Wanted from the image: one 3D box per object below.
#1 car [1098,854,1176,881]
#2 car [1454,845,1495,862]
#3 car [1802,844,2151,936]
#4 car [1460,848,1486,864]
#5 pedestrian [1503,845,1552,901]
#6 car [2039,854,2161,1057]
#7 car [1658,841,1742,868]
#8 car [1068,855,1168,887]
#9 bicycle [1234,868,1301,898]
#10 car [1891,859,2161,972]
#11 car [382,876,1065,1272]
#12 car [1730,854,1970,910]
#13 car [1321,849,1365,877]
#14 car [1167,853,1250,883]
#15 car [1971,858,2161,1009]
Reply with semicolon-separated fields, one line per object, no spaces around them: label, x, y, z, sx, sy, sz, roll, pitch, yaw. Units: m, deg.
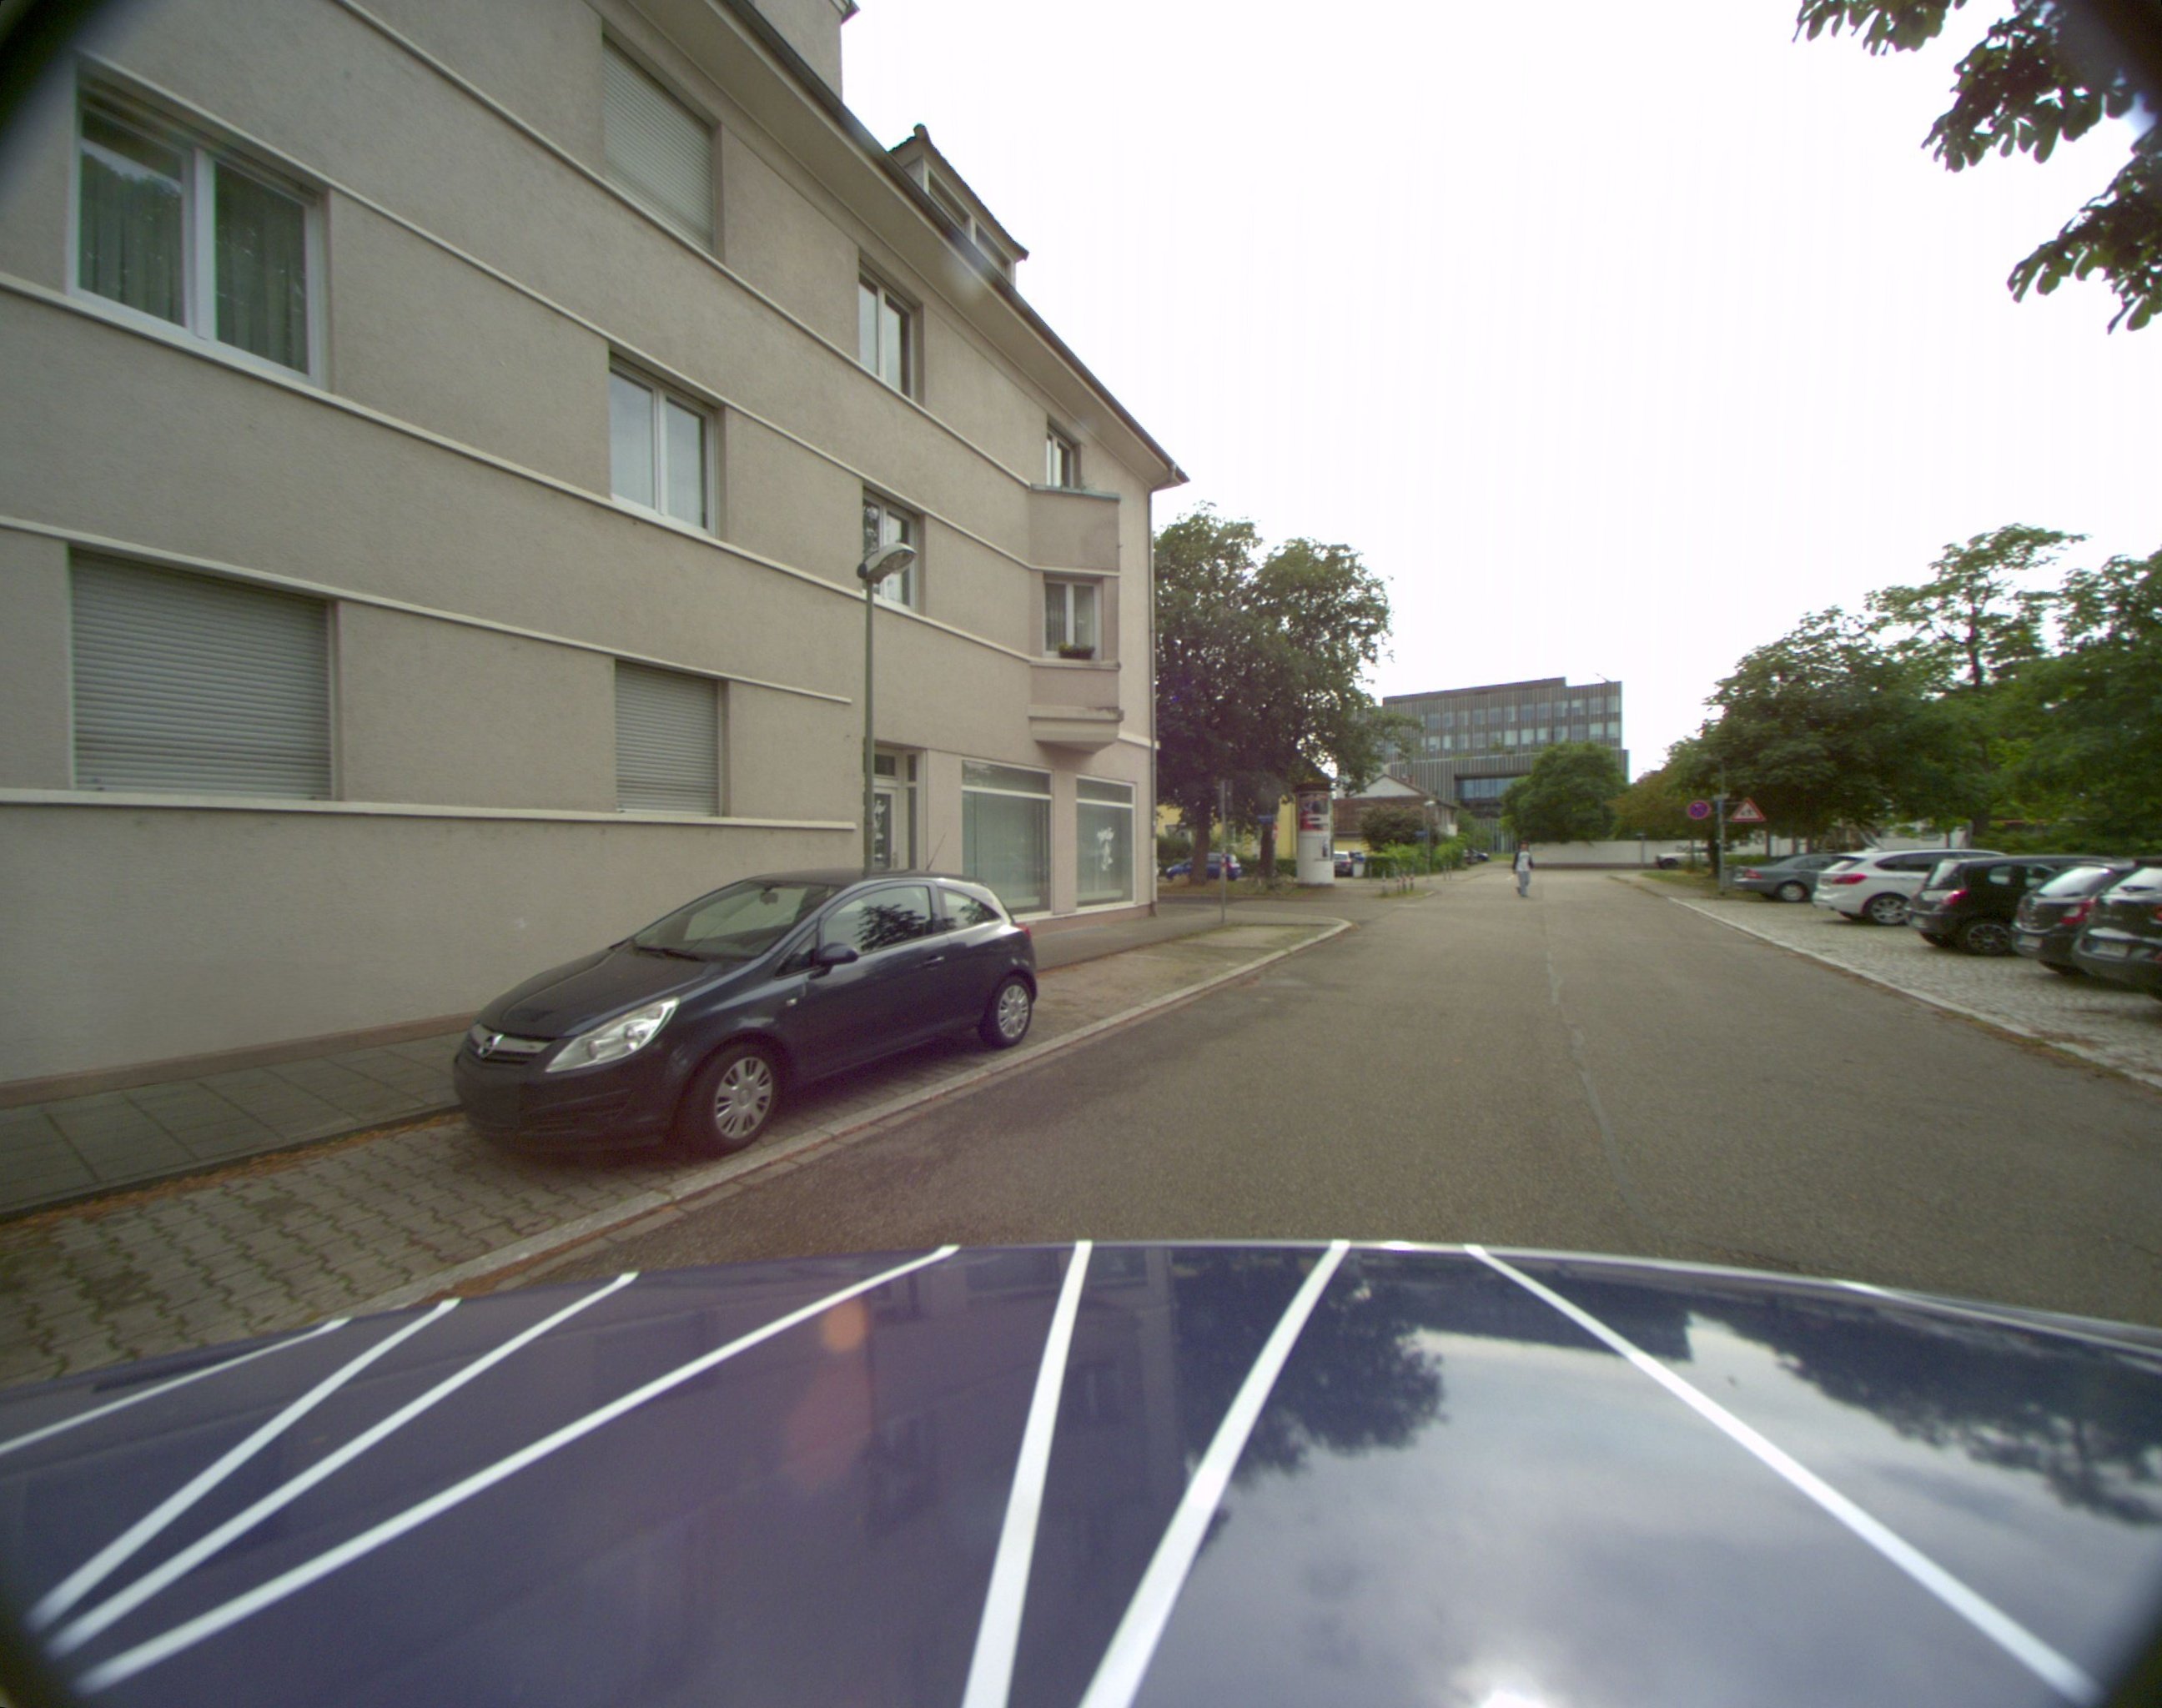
car;3.305;0.795;44.794;4.156;1.492;1.722;-1;3;26
car;44.769;-0.087;86.436;3.989;1.828;2.003;-1;3;33
car;17.724;0.745;15.406;4.138;1.551;1.888;-4;0;32
car;39.787;0.146;77.031;1.994;1.390;4.006;-1;3;32
pedestrian;14.805;0.616;25.214;0.878;1.825;1.219;-1;1;-2
car;11.346;0.828;6.161;4.057;1.687;1.920;-2;0;35
car;45.284;0.038;55.721;4.482;1.849;2.003;-1;3;28
car;1.912;0.870;39.727;4.871;1.557;1.906;-1;0;26
bicycle;6.507;1.005;26.513;2.177;0.980;0.513;-1;3;24
car;15.006;0.825;10.753;4.547;1.455;1.845;-2;0;35
car;-1.947;0.982;5.303;1.758;1.481;3.944;-1;1;32
car;21.825;0.800;21.846;4.548;1.446;1.683;-2;0;27
car;15.494;0.497;44.803;1.838;1.601;4.007;0;0;27
car;7.121;0.753;42.464;4.199;1.557;1.708;-1;2;30
car;13.068;0.825;8.081;4.345;1.557;1.845;-2;0;35
